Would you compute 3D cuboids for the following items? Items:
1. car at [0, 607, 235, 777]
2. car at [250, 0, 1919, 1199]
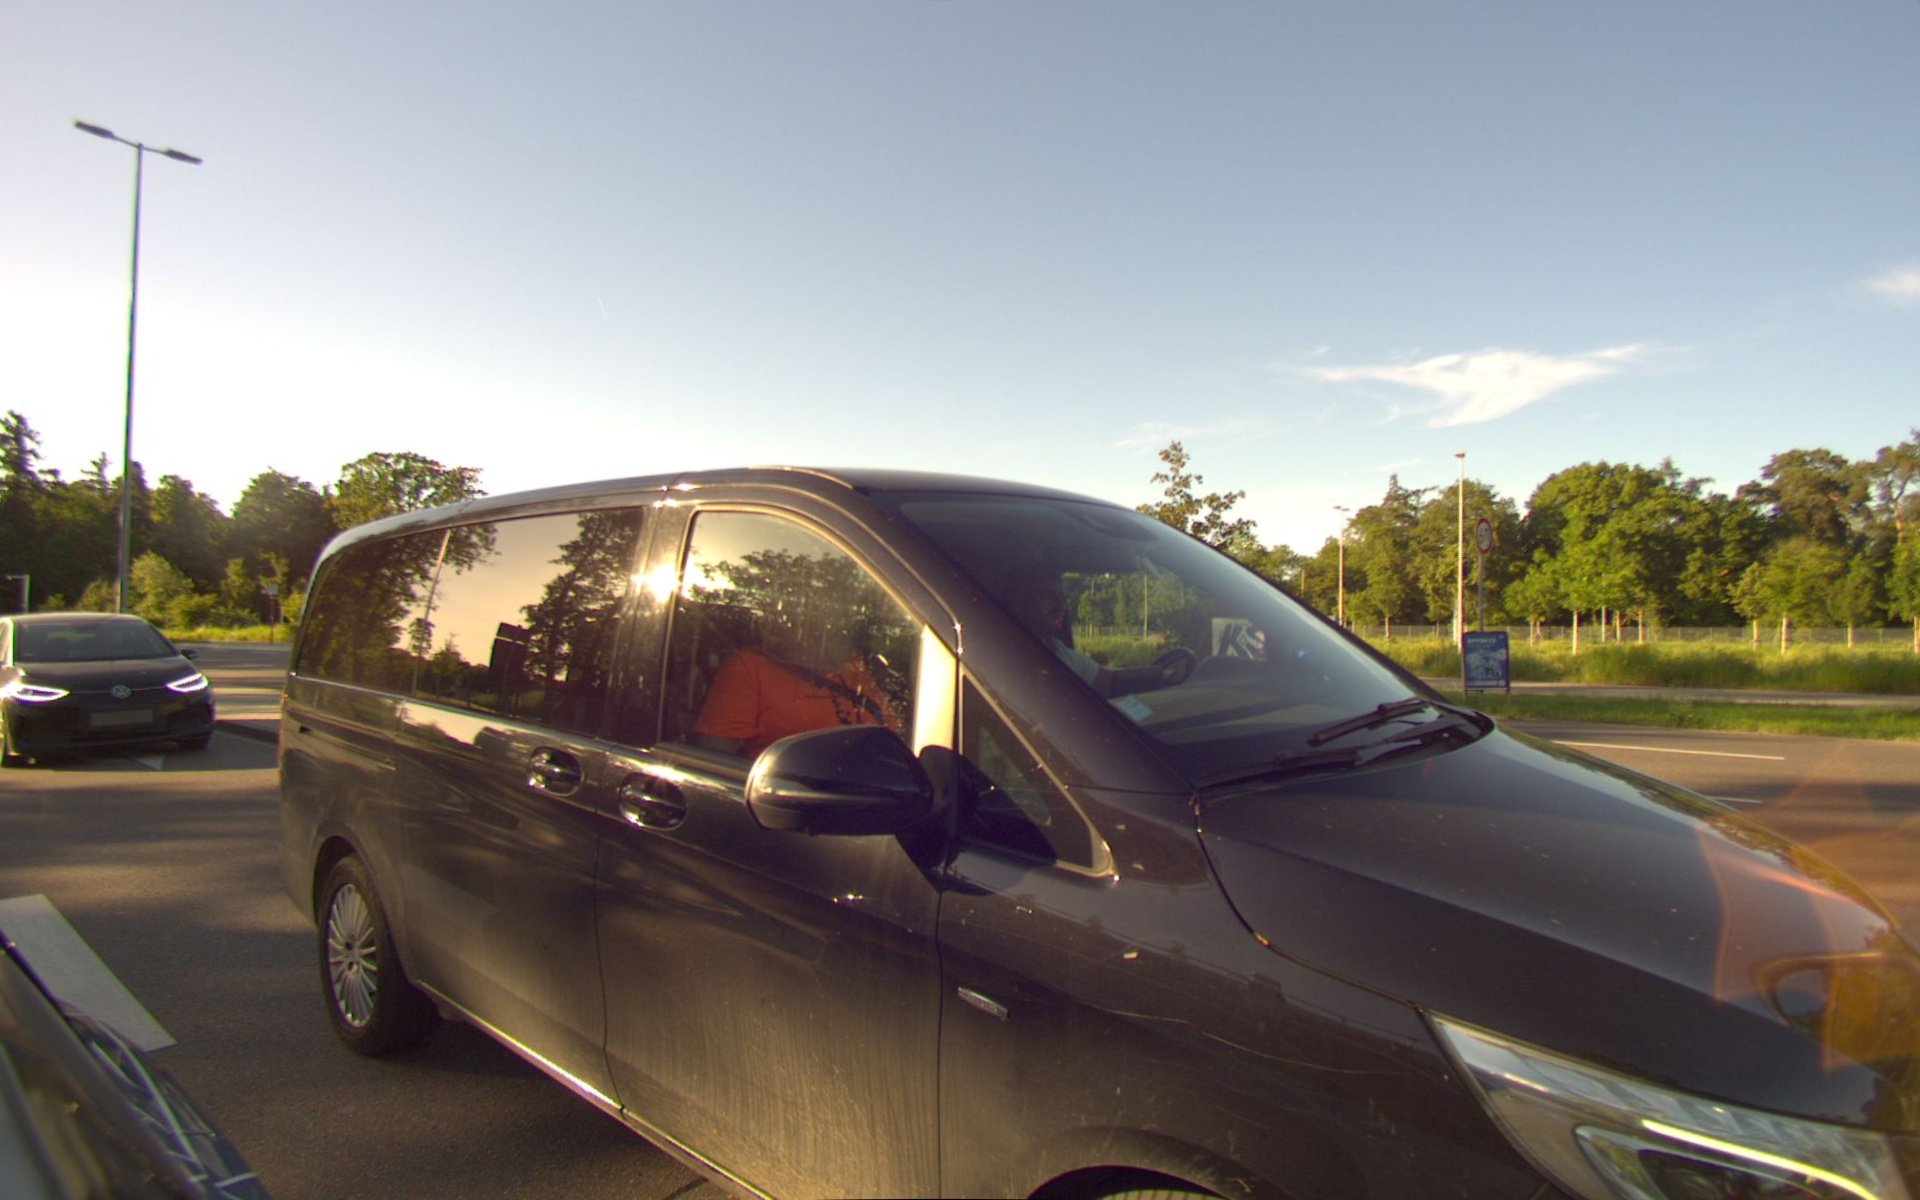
[{"bbox_3d":[-9.839,0.877,11.348,3.997,1.548,1.859,-1,0,40],"label":"car"},{"bbox_3d":[-0.243,0.494,2.998,4.870,1.870,1.888,-2,-1,41],"label":"car"}]
